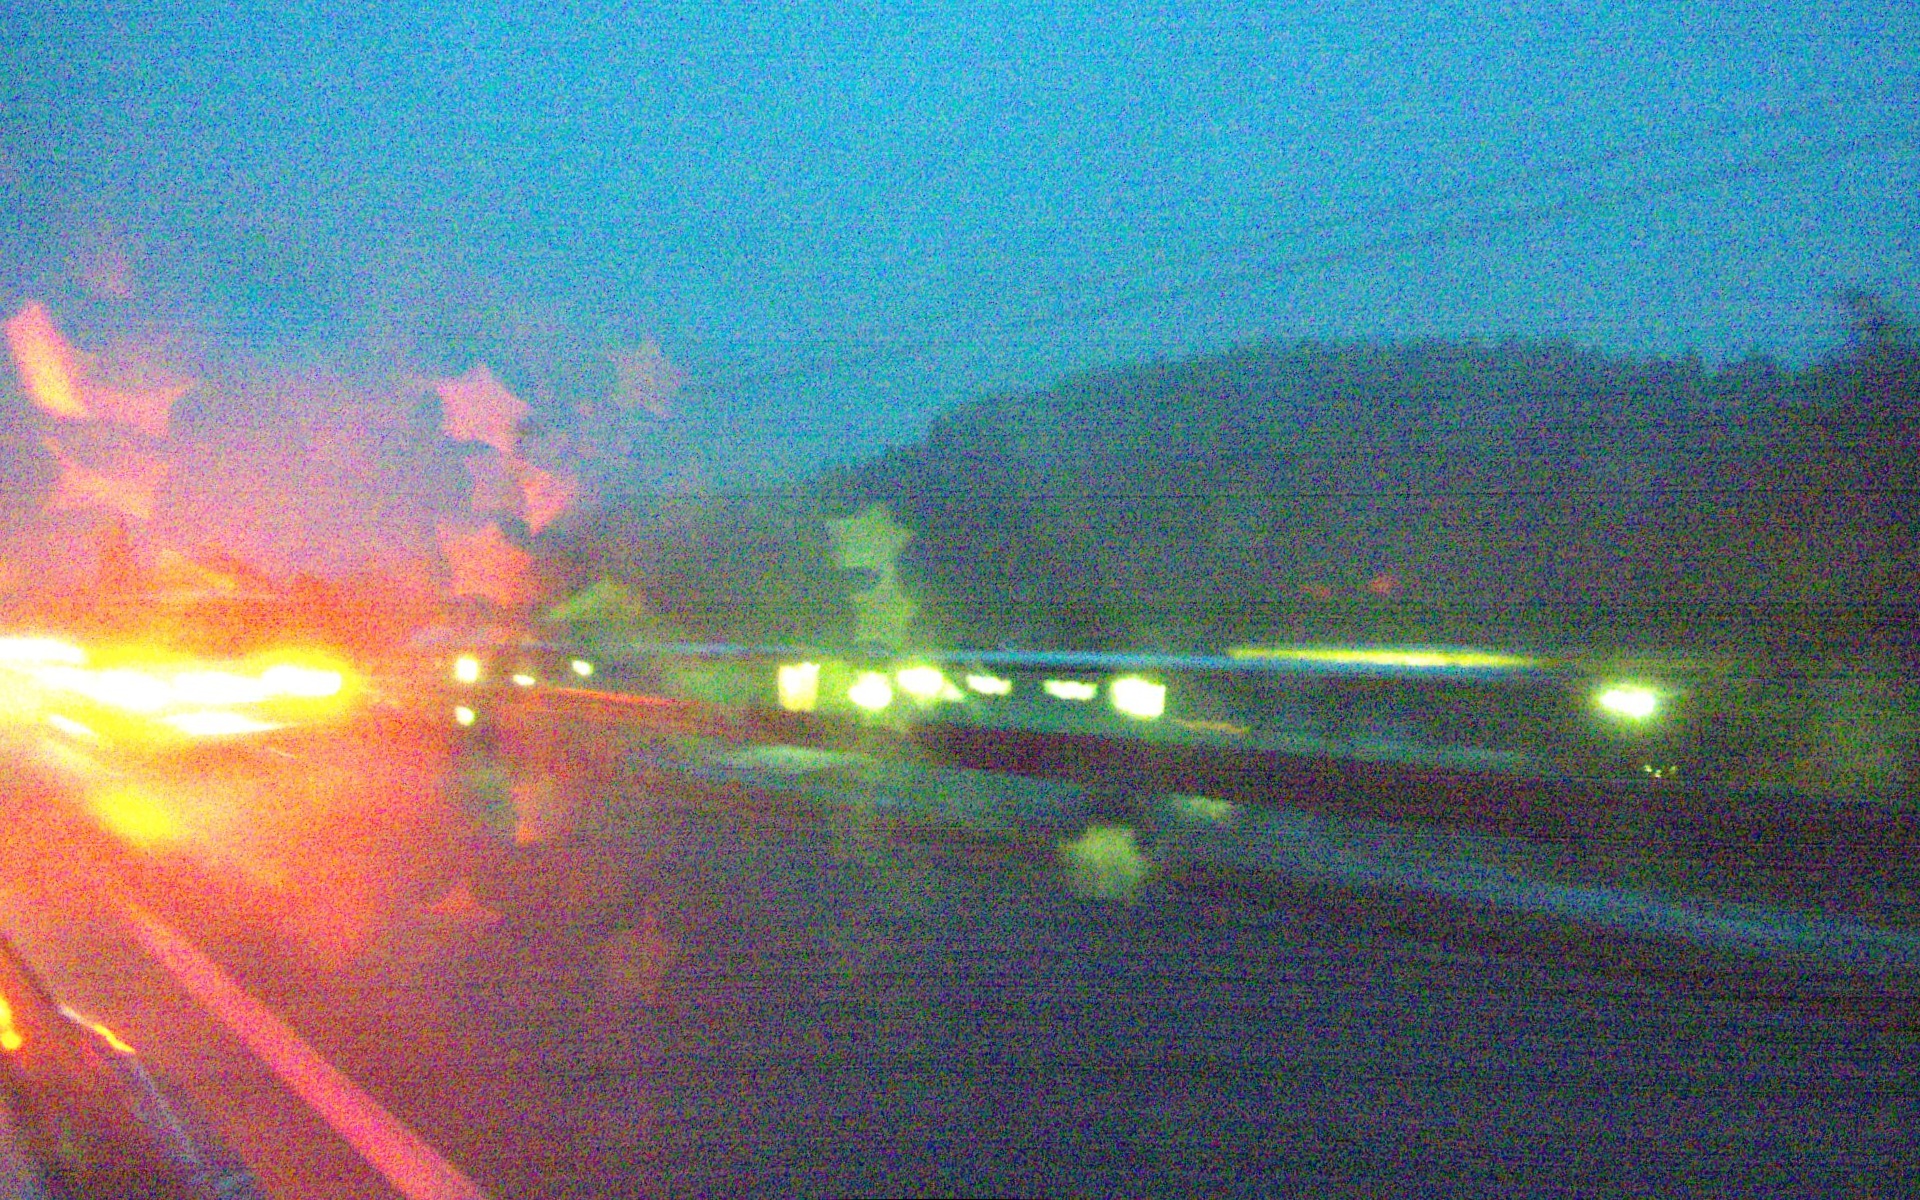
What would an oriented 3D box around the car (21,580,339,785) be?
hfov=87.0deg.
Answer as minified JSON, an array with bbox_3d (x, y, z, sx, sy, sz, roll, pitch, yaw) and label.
[{"bbox_3d":[-8.862,0.790,11.348,4.561,1.838,1.973,-1,-1,41],"label":"car"}]
